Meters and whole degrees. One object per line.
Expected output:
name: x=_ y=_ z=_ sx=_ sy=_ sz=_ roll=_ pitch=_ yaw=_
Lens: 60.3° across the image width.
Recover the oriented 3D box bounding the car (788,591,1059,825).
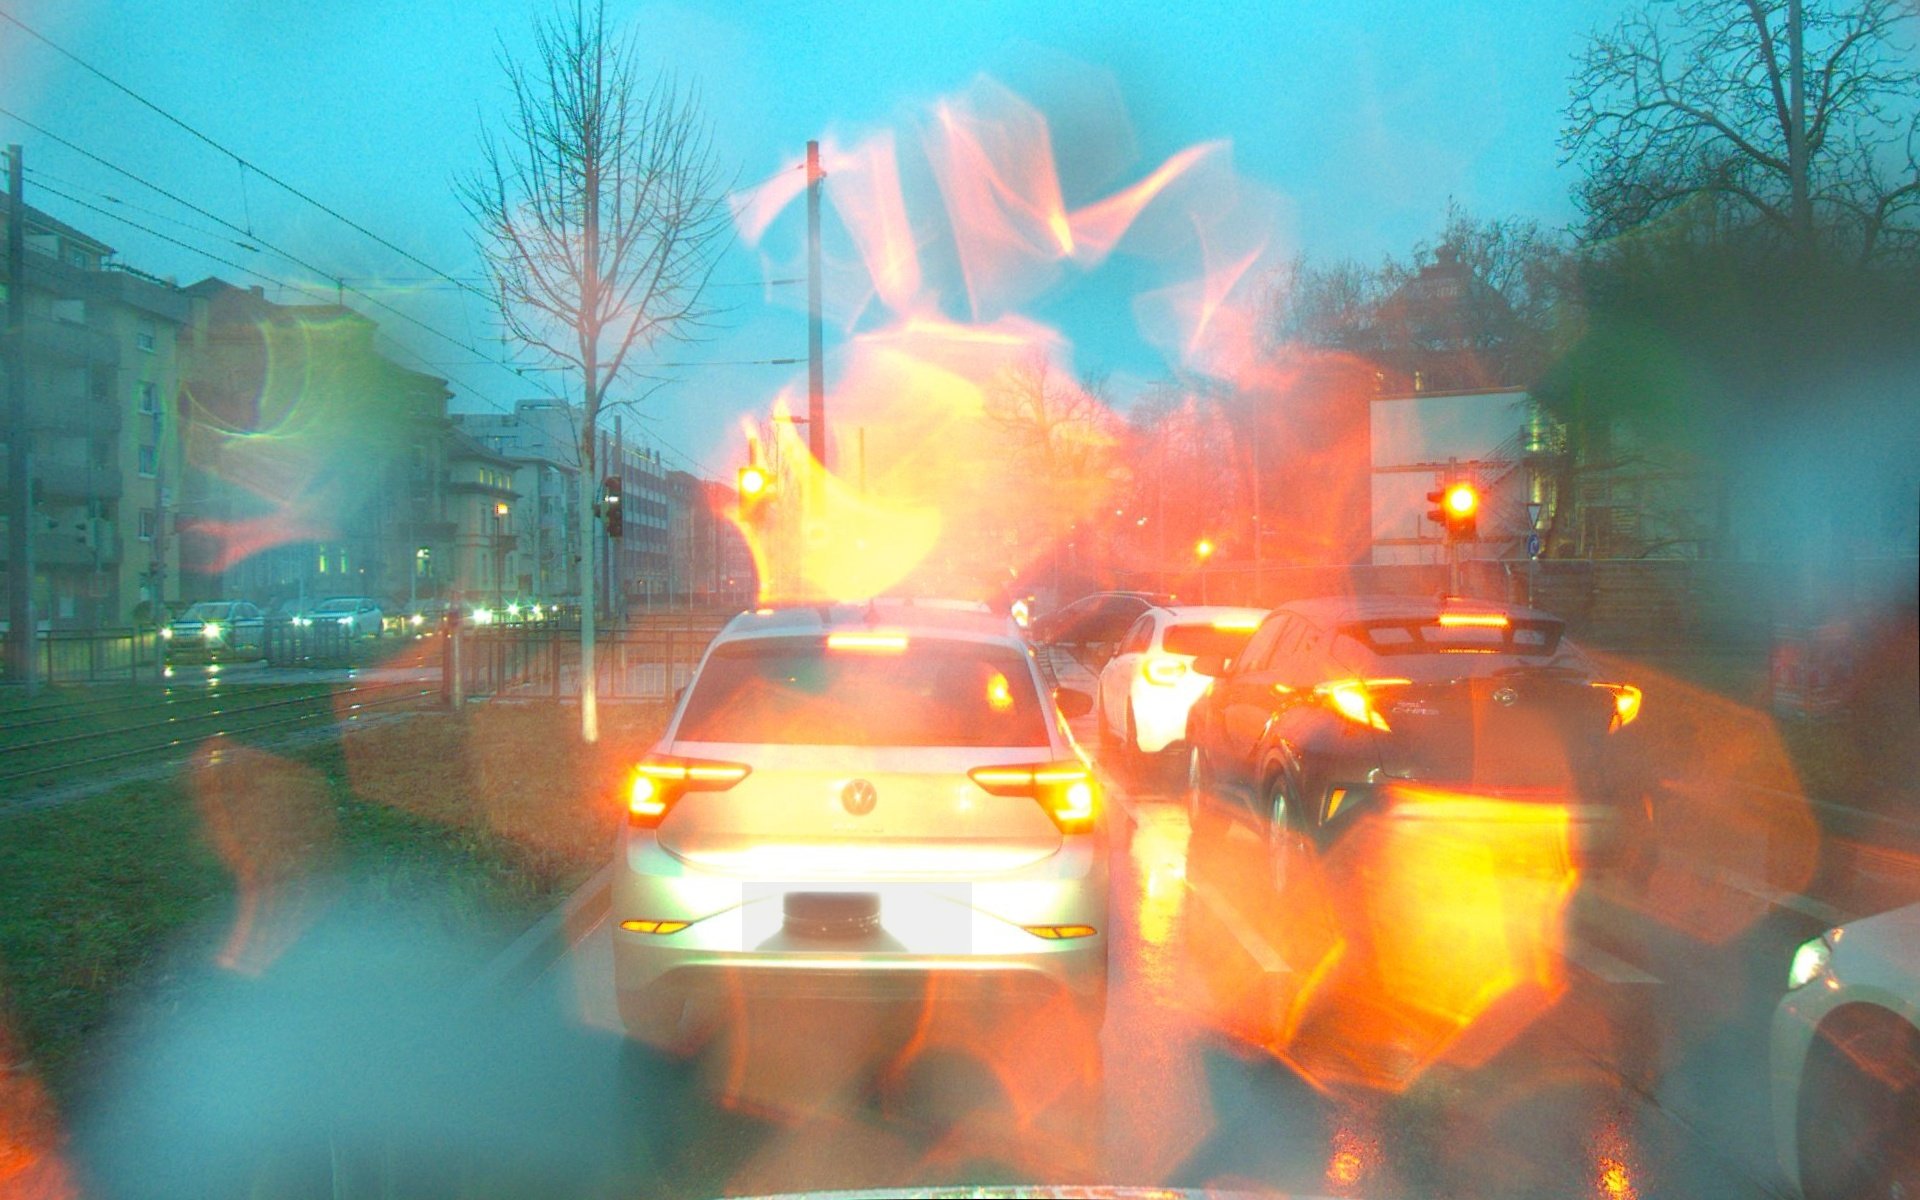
car: x=-0.259 y=0.694 z=13.169 sx=1.762 sy=1.492 sz=4.585 roll=-1 pitch=1 yaw=-1

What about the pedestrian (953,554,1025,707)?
pedestrian: x=0.403 y=0.410 z=22.886 sx=0.939 sy=2.049 sz=1.008 roll=-1 pitch=0 yaw=1

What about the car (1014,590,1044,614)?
car: x=4.267 y=0.124 z=102.880 sx=1.702 sy=1.444 sz=3.703 roll=-1 pitch=0 yaw=-1

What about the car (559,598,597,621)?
car: x=-28.532 y=0.695 z=123.699 sx=1.910 sy=1.630 sz=4.000 roll=1 pitch=0 yaw=0

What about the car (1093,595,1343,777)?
car: x=2.269 y=0.705 z=15.418 sx=1.710 sy=1.458 sz=3.731 roll=1 pitch=0 yaw=0

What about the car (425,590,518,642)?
car: x=-16.169 y=0.502 z=54.936 sx=1.953 sy=1.630 sz=3.999 roll=1 pitch=0 yaw=-2

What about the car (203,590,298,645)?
car: x=-27.373 y=0.660 z=63.962 sx=1.953 sy=2.049 sz=3.999 roll=1 pitch=0 yaw=-1

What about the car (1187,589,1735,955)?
car: x=2.403 y=0.724 z=8.990 sx=1.763 sy=1.537 sz=3.895 roll=-1 pitch=0 yaw=-1

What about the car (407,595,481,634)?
car: x=-22.277 y=0.610 z=71.550 sx=1.910 sy=1.630 sz=4.000 roll=1 pitch=0 yaw=0

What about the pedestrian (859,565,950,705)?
pedestrian: x=-0.830 y=0.507 z=24.760 sx=0.942 sy=2.049 sz=1.005 roll=-1 pitch=0 yaw=34

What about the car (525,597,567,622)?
car: x=-28.629 y=0.657 z=114.536 sx=1.910 sy=1.630 sz=4.000 roll=1 pitch=0 yaw=0

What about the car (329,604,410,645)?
car: x=-24.585 y=0.996 z=68.973 sx=1.910 sy=1.630 sz=4.000 roll=1 pitch=0 yaw=0

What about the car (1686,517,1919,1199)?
car: x=2.888 y=0.629 z=1.701 sx=1.826 sy=1.583 sz=4.934 roll=-1 pitch=1 yaw=-4

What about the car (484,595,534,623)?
car: x=-27.229 y=0.515 z=99.926 sx=1.910 sy=1.630 sz=4.000 roll=1 pitch=0 yaw=0

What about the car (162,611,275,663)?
car: x=-20.464 y=0.995 z=45.810 sx=1.658 sy=1.300 sz=4.142 roll=-1 pitch=0 yaw=-7

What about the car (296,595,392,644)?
car: x=-21.114 y=0.624 z=56.836 sx=1.829 sy=1.604 sz=3.999 roll=-1 pitch=0 yaw=-1

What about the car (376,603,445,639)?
car: x=-26.025 y=0.968 z=78.424 sx=1.910 sy=1.630 sz=4.000 roll=1 pitch=0 yaw=0

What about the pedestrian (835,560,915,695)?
pedestrian: x=-1.340 y=0.419 z=25.883 sx=0.946 sy=2.049 sz=1.000 roll=-1 pitch=0 yaw=-23

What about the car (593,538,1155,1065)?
car: x=-0.308 y=0.586 z=6.927 sx=1.659 sy=1.560 sz=3.999 roll=1 pitch=0 yaw=-2

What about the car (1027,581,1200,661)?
car: x=3.998 y=0.525 z=43.521 sx=4.212 sy=1.977 sz=1.987 roll=1 pitch=0 yaw=43
